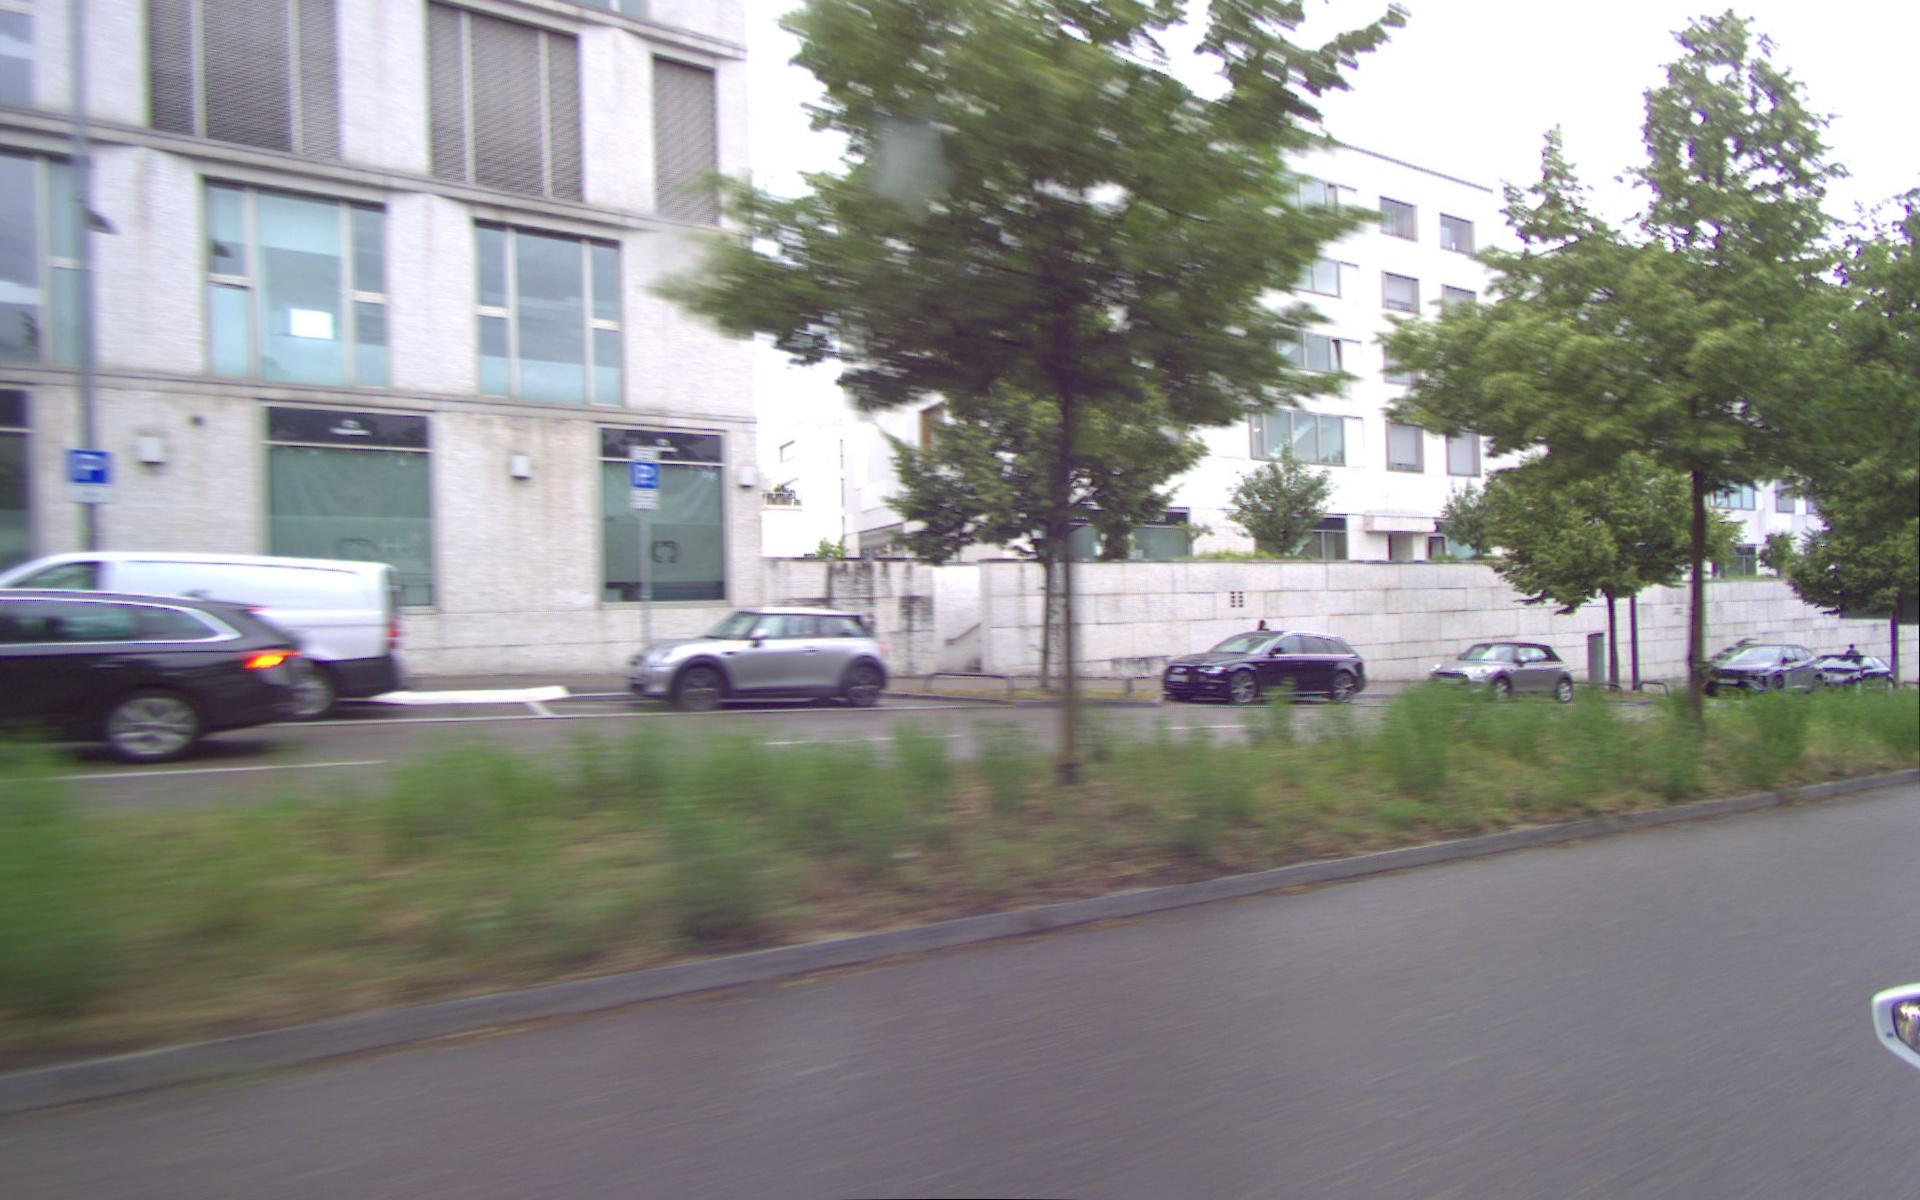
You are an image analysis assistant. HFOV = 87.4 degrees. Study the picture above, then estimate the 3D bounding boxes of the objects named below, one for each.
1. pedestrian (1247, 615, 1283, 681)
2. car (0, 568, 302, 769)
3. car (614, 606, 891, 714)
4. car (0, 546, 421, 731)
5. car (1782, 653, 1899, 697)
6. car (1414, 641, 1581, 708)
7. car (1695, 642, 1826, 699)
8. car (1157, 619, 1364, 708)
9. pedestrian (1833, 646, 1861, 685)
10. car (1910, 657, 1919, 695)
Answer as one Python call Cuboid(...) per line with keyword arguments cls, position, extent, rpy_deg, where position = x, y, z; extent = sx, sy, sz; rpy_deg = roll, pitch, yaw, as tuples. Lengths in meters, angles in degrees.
Cuboid(cls="pedestrian", position=(8.562, 1.340, 28.208), extent=(0.683, 1.798, 0.715), rpy_deg=(1, -1, -30))
Cuboid(cls="car", position=(-8.171, 0.544, 8.717), extent=(3.970, 1.602, 1.687), rpy_deg=(2, -1, -30))
Cuboid(cls="car", position=(-3.031, 0.848, 14.841), extent=(3.656, 1.403, 1.686), rpy_deg=(2, -1, -31))
Cuboid(cls="car", position=(-9.184, 0.424, 11.506), extent=(5.200, 1.840, 2.111), rpy_deg=(1, -1, -31))
Cuboid(cls="car", position=(29.728, 2.514, 33.891), extent=(4.112, 1.378, 1.688), rpy_deg=(2, -2, -29))
Cuboid(cls="car", position=(12.975, 1.760, 24.223), extent=(3.811, 1.463, 1.688), rpy_deg=(2, -1, -28))
Cuboid(cls="car", position=(24.577, 2.172, 30.816), extent=(4.310, 1.641, 1.695), rpy_deg=(3, -3, -30))
Cuboid(cls="car", position=(6.053, 1.259, 20.122), extent=(3.969, 1.602, 1.687), rpy_deg=(3, -2, -29))
Cuboid(cls="pedestrian", position=(42.028, 3.109, 47.592), extent=(1.009, 1.798, 0.704), rpy_deg=(2, -3, -30))
Cuboid(cls="car", position=(38.690, 3.008, 38.958), extent=(3.919, 1.445, 1.671), rpy_deg=(3, -2, -31))
